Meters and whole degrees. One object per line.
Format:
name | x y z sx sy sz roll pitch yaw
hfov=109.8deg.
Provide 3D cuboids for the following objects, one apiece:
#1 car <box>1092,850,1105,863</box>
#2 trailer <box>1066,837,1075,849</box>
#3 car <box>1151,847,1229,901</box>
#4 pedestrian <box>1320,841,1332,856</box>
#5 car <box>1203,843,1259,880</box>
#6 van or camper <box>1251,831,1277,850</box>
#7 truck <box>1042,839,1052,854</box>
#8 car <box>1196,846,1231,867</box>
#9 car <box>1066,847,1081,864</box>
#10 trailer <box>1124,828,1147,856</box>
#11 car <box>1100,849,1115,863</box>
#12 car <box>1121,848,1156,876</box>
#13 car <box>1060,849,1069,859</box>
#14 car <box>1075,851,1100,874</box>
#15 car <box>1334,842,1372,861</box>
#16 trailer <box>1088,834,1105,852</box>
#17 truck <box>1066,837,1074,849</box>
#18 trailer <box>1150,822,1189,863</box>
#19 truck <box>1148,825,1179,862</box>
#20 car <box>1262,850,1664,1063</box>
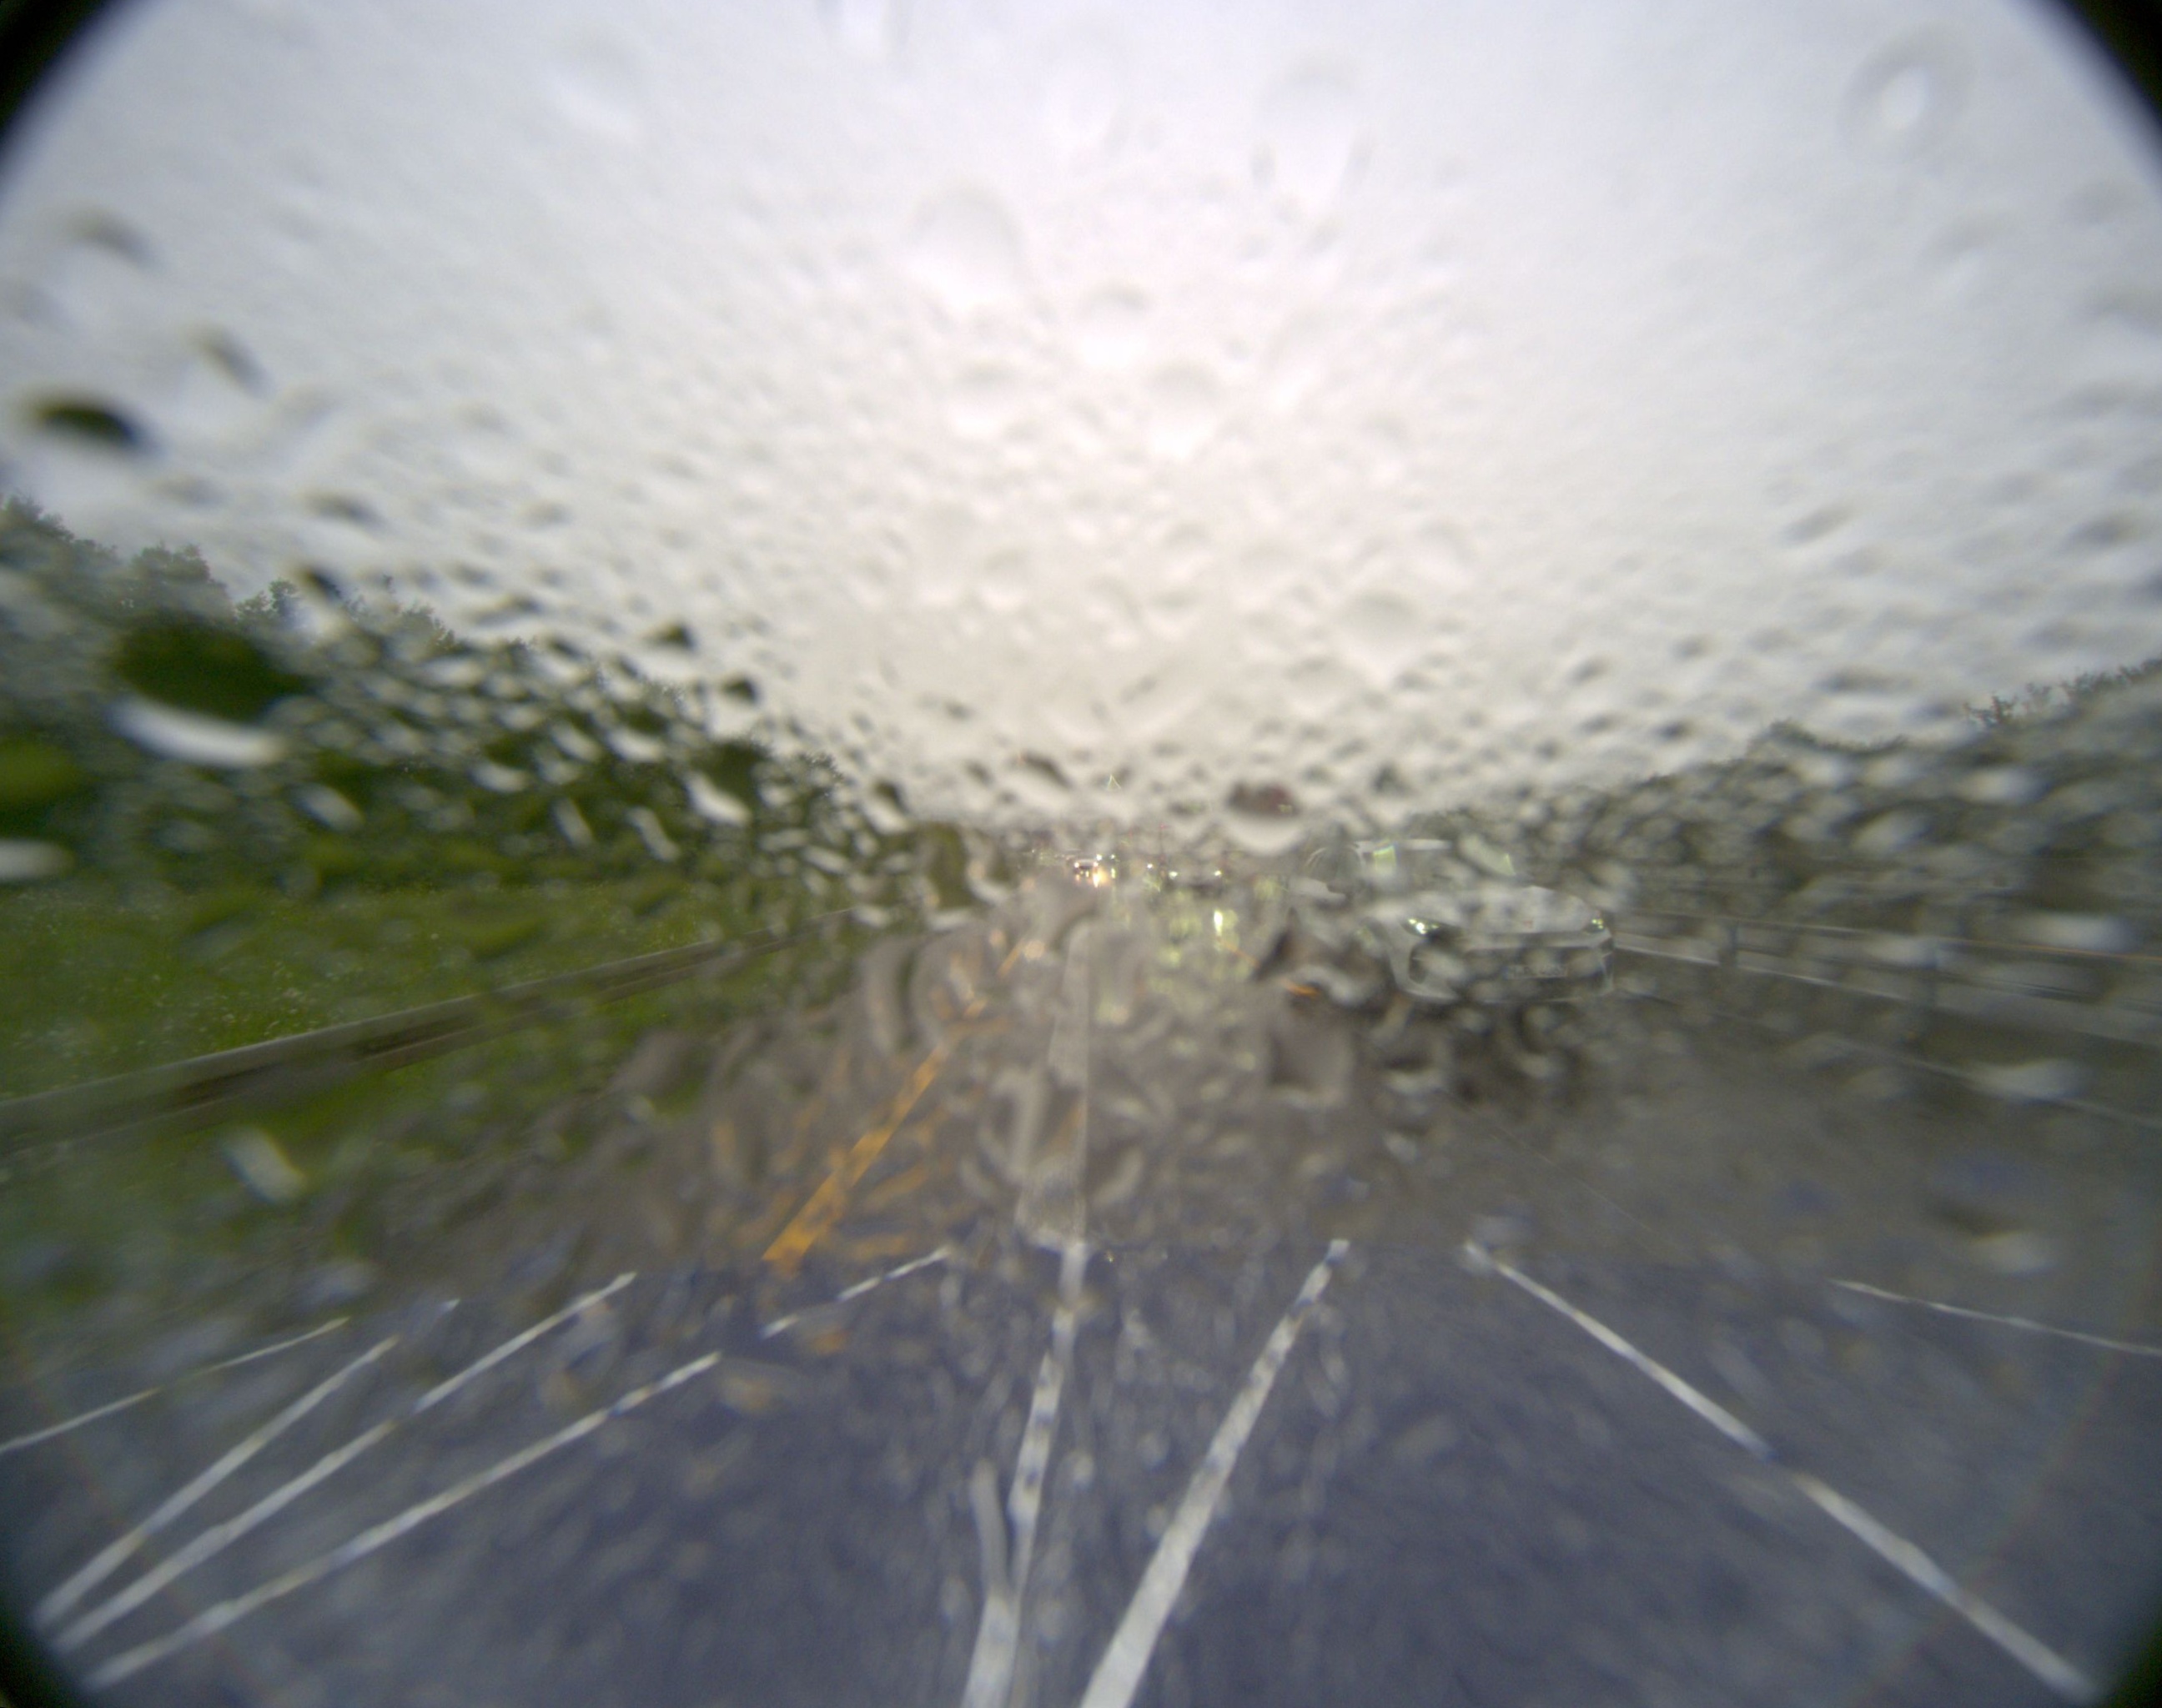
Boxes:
car | 2.646 0.354 113.025 1.674 1.804 3.998 -1 1 -2
trailer | -3.482 -3.721 255.647 2.620 3.984 11.922 -3 1 -3
car | 3.621 0.595 26.156 2.069 1.618 5.195 -2 1 2
pedestrian | 32.723 -0.720 101.367 1.108 2.002 1.125 -3 1 -4
car | 7.094 0.293 36.277 1.806 1.584 4.183 -3 1 0
van or camper | 42.591 -3.155 176.954 3.376 4.299 8.503 -3 1 -3
truck | -10.058 -2.282 224.756 2.507 4.067 15.195 -3 1 -3
car | 10.433 0.177 59.897 1.998 1.497 4.295 -2 1 0
car | -0.869 0.143 88.000 1.673 1.804 3.999 -1 1 -1
trailer | 8.389 -1.964 118.381 2.500 4.027 12.582 -1 2 -1
car | 3.050 0.266 87.425 1.590 1.528 3.830 -1 1 -1
car | 3.429 0.463 45.887 1.792 1.481 3.999 -3 1 0
car | -3.329 -0.049 151.274 1.674 1.804 3.998 -1 1 -2
car | 0.483 0.637 61.486 1.881 1.772 3.999 -1 1 -1
car | 30.171 -0.275 84.446 2.099 1.955 5.363 -2 1 -2
trailer | 3.693 -2.629 183.434 2.607 4.054 12.423 -2 1 -6
truck | -3.809 -3.837 262.448 2.650 4.025 7.282 -3 1 -3
trailer | 9.576 -1.151 83.585 2.914 4.065 12.219 -1 0 1
truck | 9.615 -1.160 89.471 2.891 4.077 6.926 -1 0 1
car | 3.461 0.760 8.205 1.932 1.542 5.006 -1 1 2
